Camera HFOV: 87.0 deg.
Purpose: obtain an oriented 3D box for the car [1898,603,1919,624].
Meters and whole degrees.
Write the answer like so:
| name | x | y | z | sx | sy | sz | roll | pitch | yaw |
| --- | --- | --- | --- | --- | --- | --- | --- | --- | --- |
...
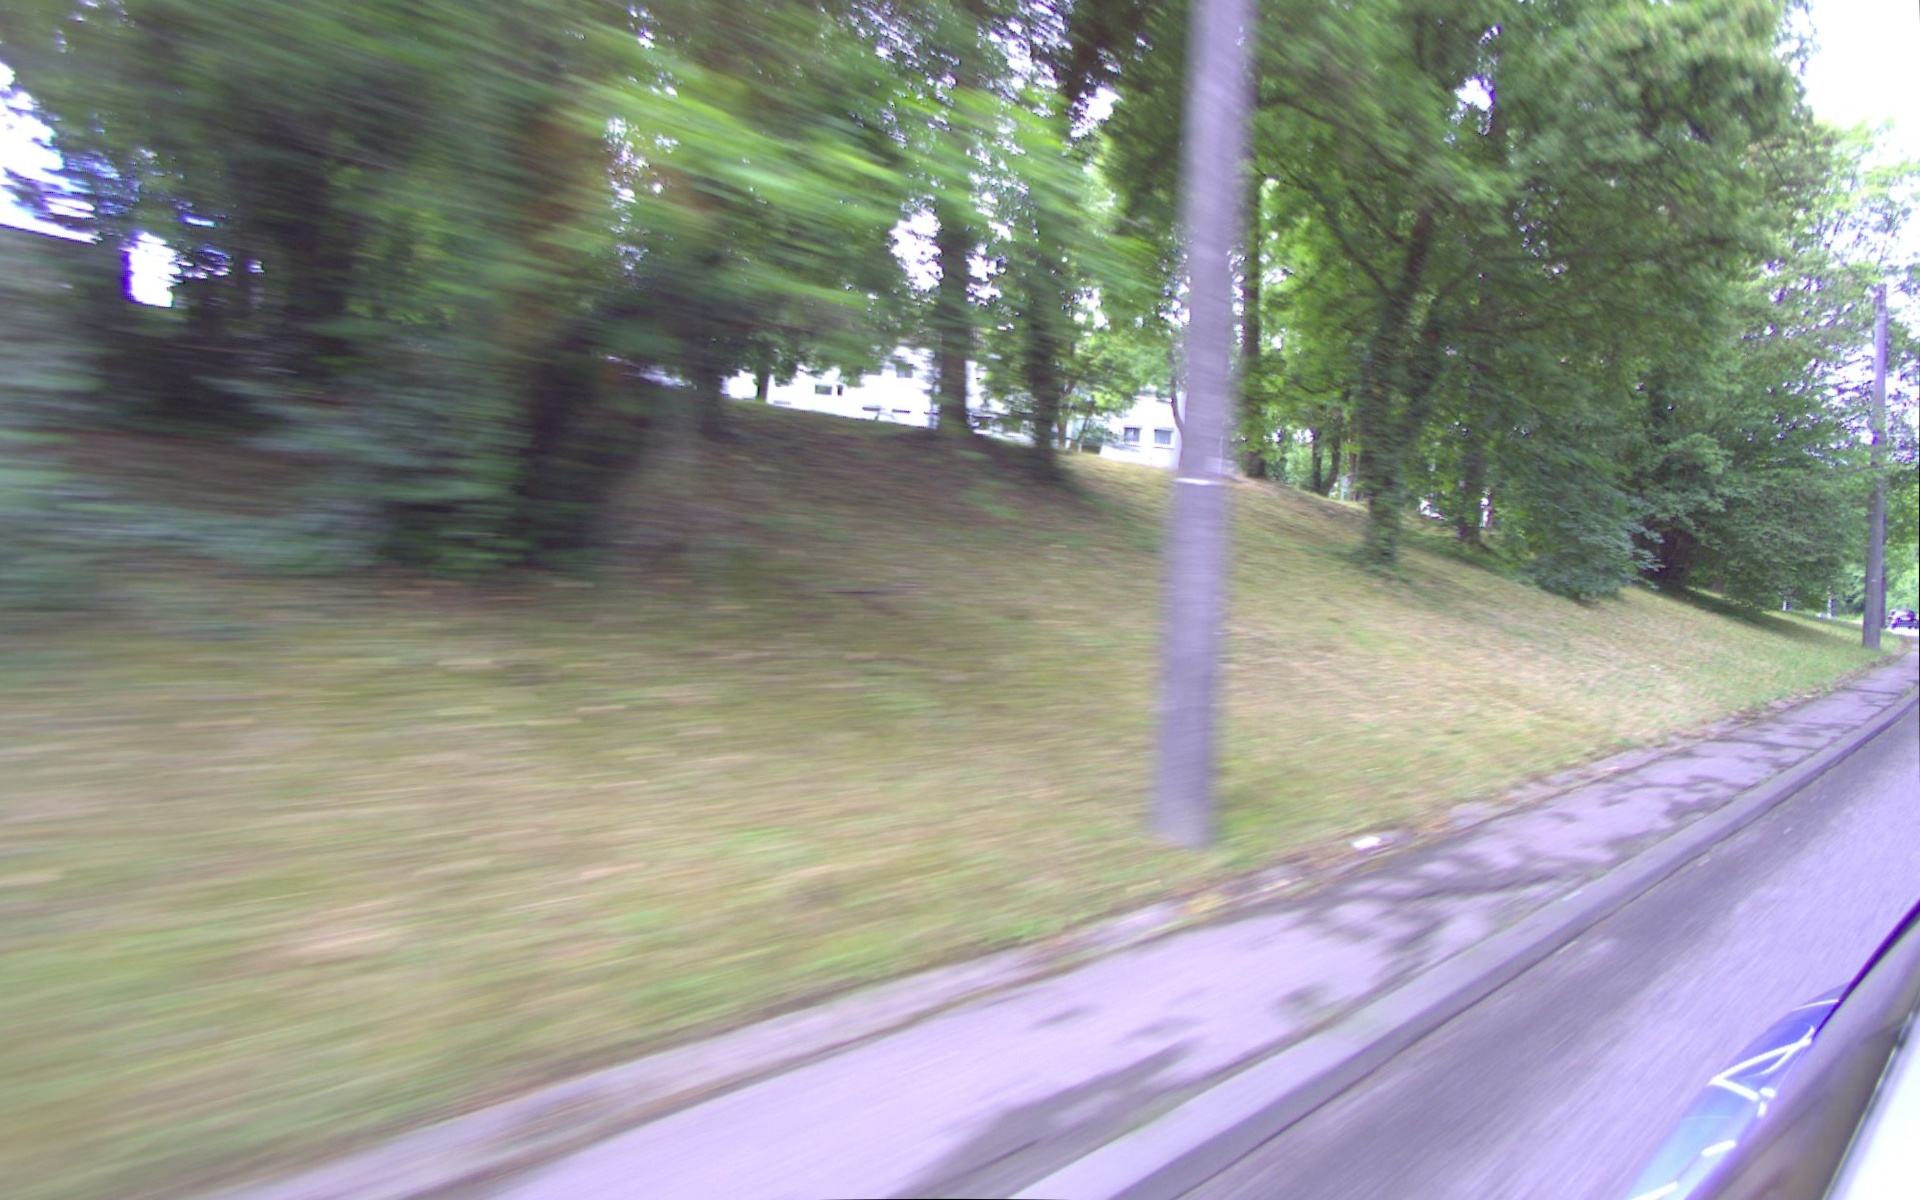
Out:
| name | x | y | z | sx | sy | sz | roll | pitch | yaw |
| --- | --- | --- | --- | --- | --- | --- | --- | --- | --- |
| car | 73.732 | 1.042 | 78.086 | 1.659 | 1.514 | 3.268 | 1 | -1 | 38 |
